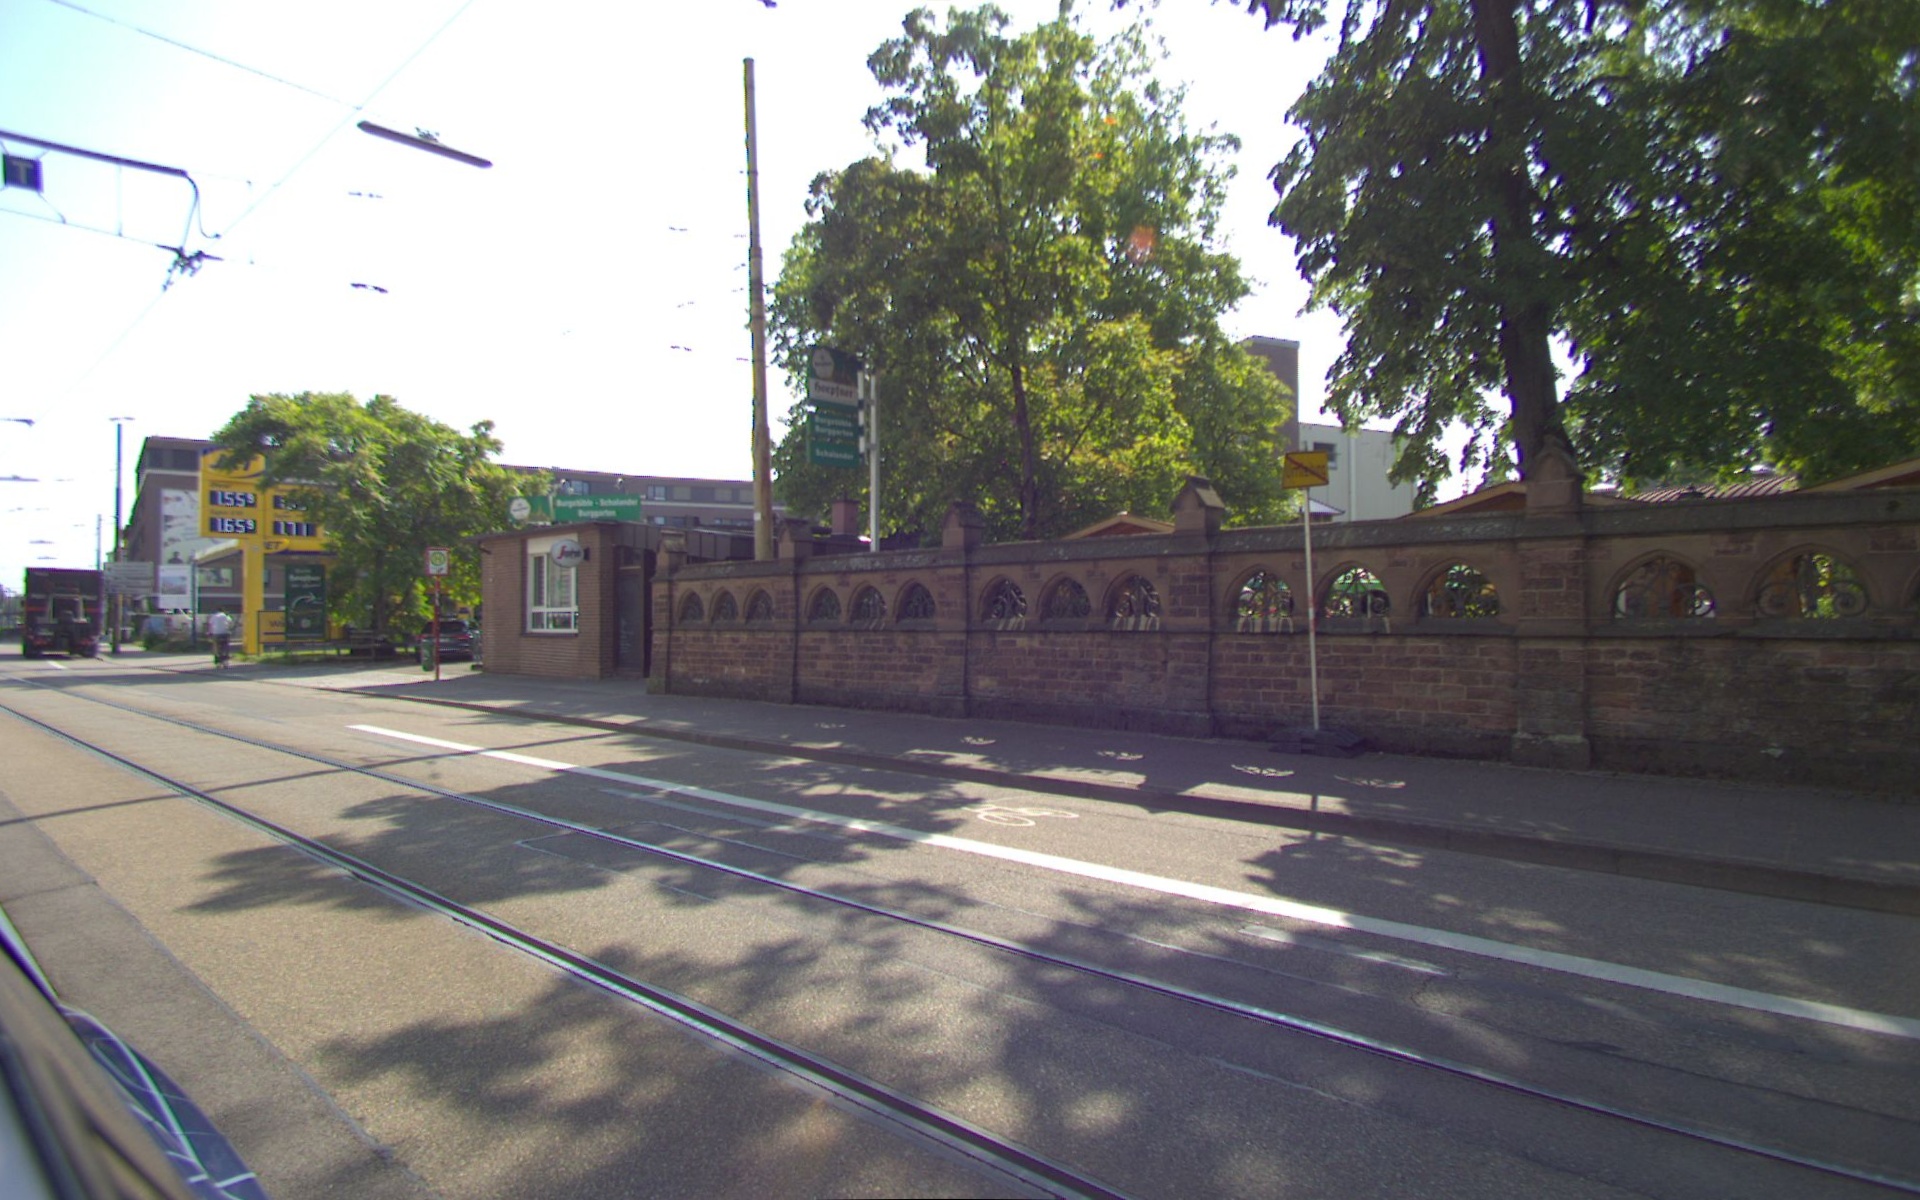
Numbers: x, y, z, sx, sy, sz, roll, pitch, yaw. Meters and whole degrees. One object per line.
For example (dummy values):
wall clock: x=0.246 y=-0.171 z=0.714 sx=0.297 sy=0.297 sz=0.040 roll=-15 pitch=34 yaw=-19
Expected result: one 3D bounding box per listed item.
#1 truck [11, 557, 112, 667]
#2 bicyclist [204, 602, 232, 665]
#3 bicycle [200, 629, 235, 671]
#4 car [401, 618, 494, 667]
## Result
truck: x=-43.337 y=0.613 z=48.642 sx=3.127 sy=4.487 sz=16.858 roll=0 pitch=-1 yaw=-43
bicyclist: x=-23.330 y=1.038 z=31.828 sx=0.632 sy=1.944 sz=1.179 roll=0 pitch=-1 yaw=-33
bicycle: x=-23.265 y=1.570 z=31.732 sx=0.775 sy=1.250 sz=2.039 roll=1 pitch=-4 yaw=-33
car: x=-17.026 y=1.361 z=33.842 sx=1.905 sy=1.472 sz=4.540 roll=0 pitch=-1 yaw=-15
